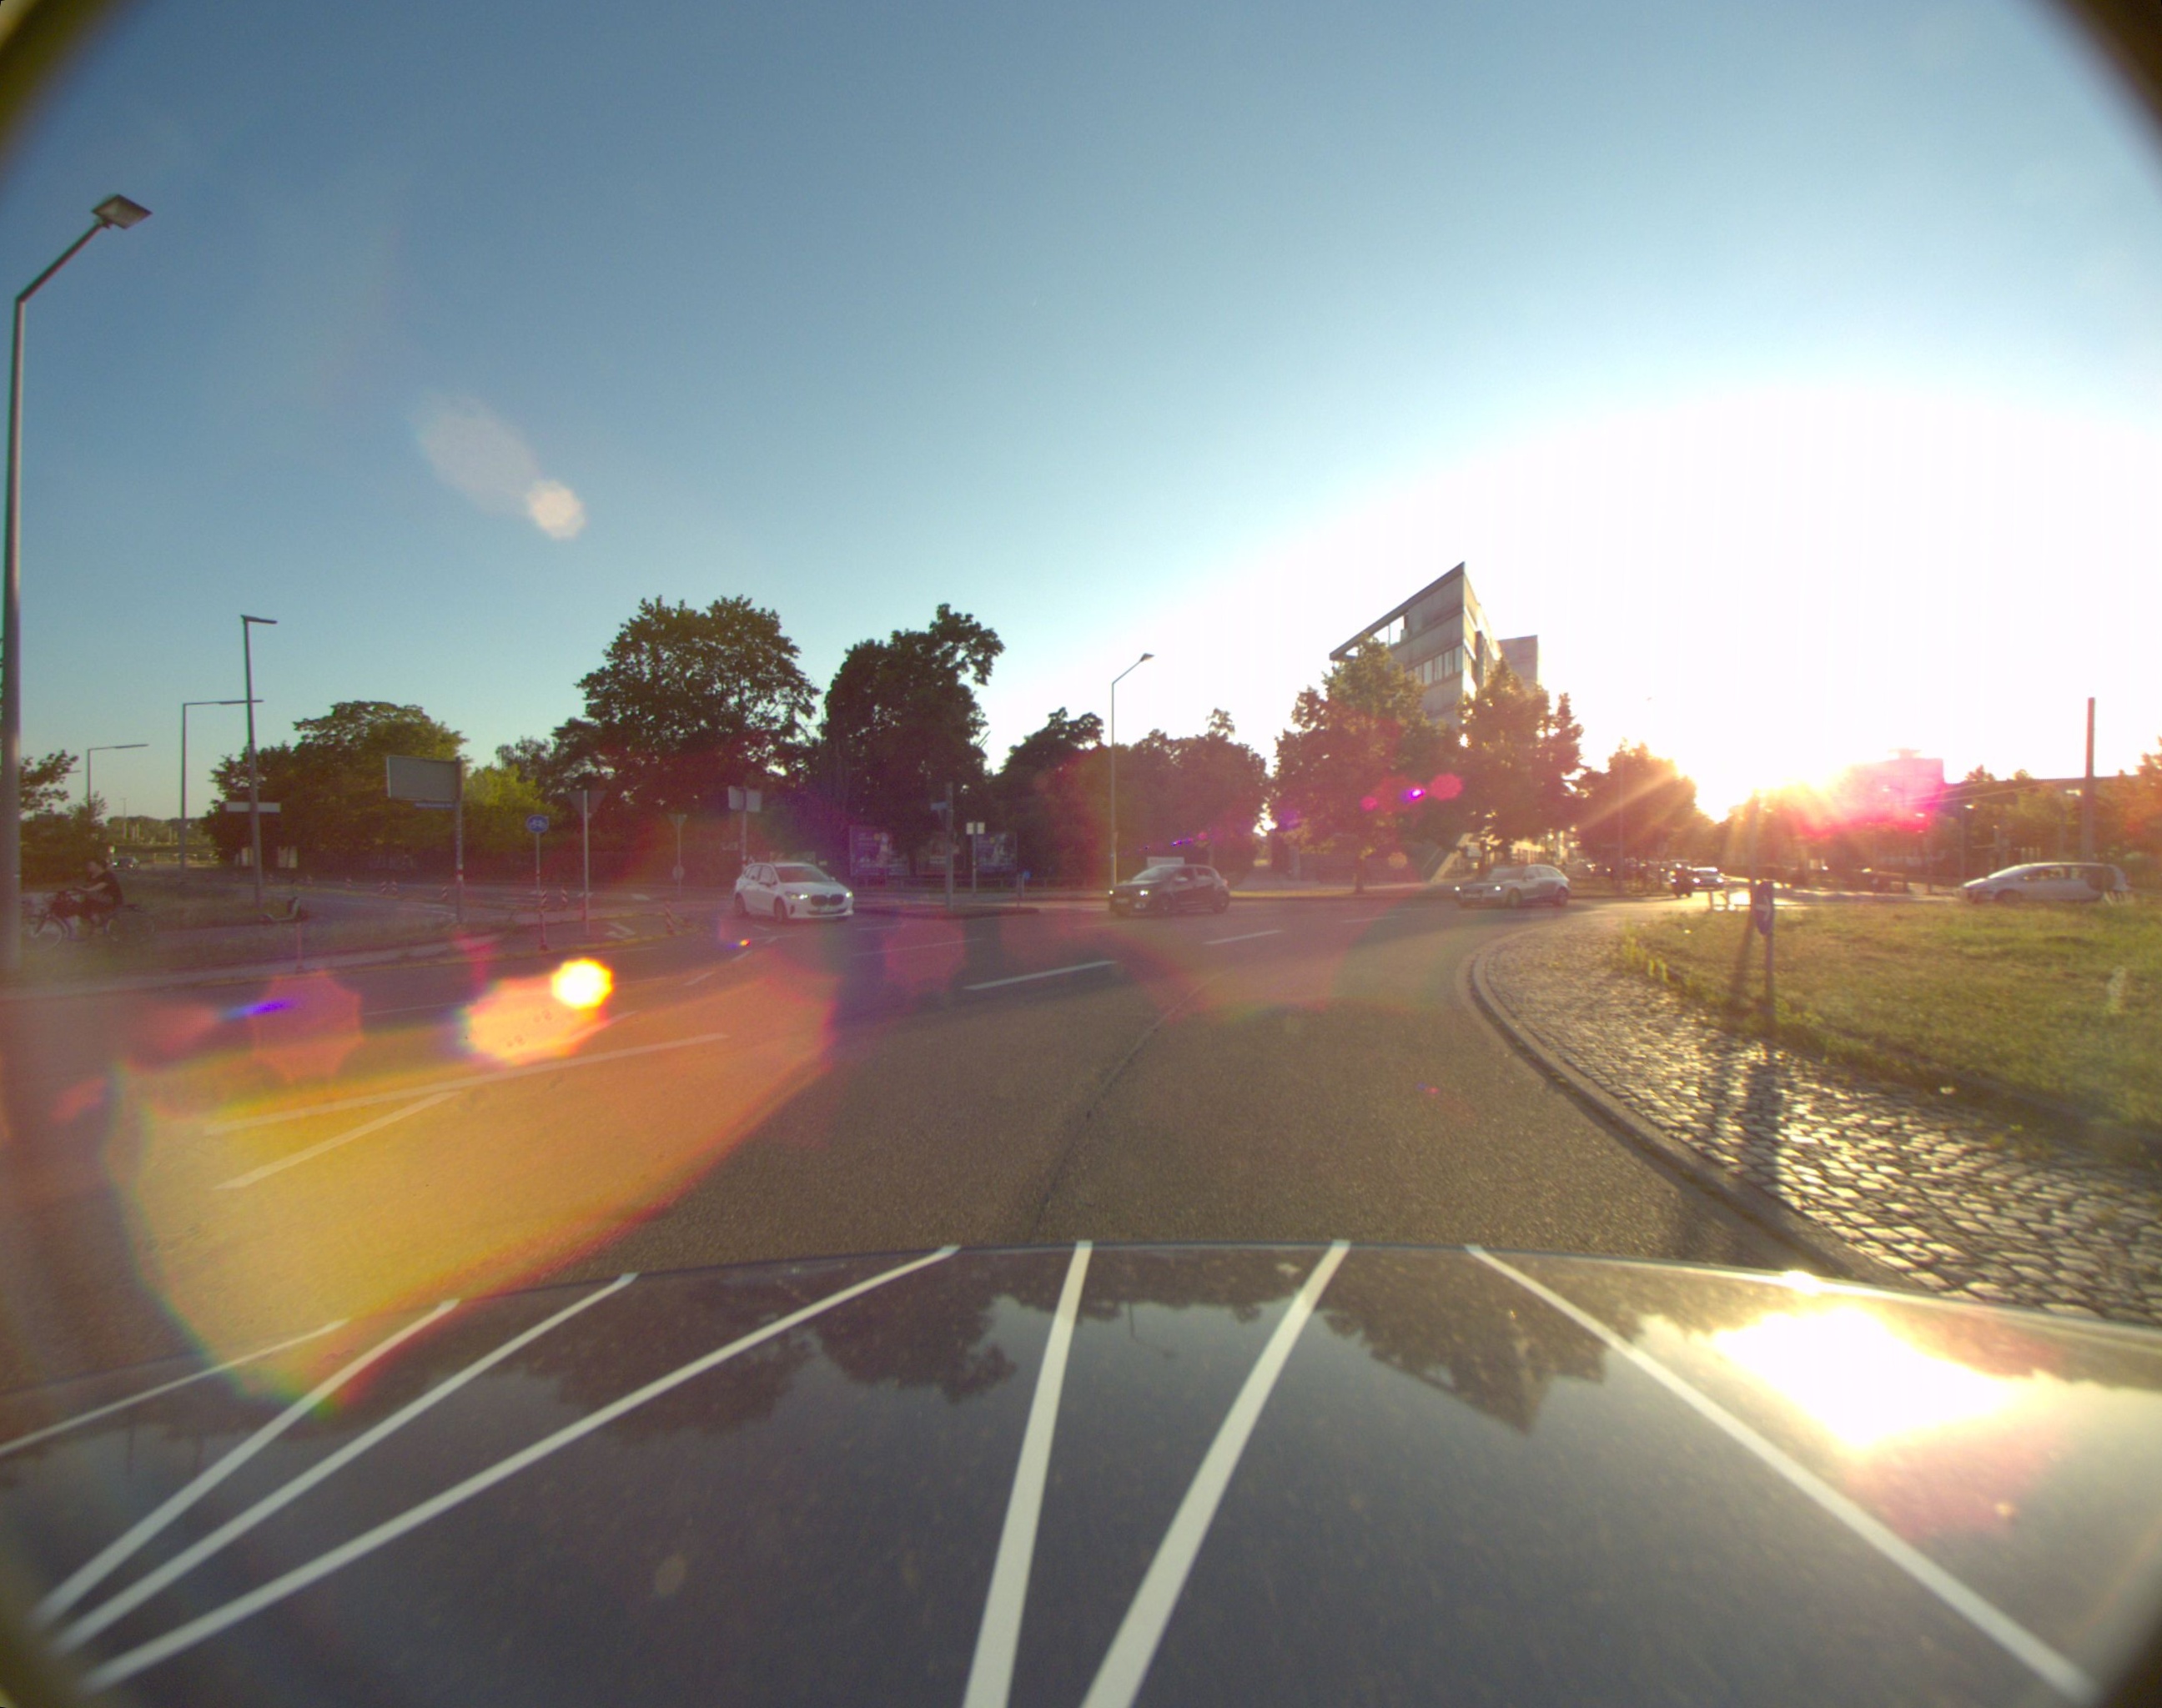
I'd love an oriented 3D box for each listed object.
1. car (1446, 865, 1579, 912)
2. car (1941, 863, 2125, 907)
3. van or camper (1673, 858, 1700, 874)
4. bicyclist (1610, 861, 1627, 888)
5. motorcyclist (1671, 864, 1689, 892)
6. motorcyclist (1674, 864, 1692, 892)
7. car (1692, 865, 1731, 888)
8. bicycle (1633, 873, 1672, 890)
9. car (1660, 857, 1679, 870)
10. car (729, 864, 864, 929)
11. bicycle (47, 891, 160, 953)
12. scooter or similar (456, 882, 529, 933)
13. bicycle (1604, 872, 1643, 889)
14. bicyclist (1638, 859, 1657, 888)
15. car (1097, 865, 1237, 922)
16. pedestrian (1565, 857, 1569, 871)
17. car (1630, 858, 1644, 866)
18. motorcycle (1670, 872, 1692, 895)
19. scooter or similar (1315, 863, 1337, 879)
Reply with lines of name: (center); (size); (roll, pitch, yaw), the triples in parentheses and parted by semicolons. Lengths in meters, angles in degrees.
car: (14.299, 1.075, 25.117); (4.456, 1.414, 1.799); (0, 0, -30)
car: (33.313, 1.048, 26.724); (3.701, 1.457, 1.609); (0, 0, 23)
van or camper: (75.381, 1.445, 94.653); (1.994, 1.946, 5.339); (0, 0, 33)
bicyclist: (32.163, 1.223, 45.464); (0.683, 1.638, 0.685); (0, 0, 24)
motorcyclist: (30.787, 1.235, 39.047); (0.716, 1.408, 0.634); (-1, 1, -43)
motorcyclist: (31.280, 1.245, 39.489); (0.595, 1.400, 0.634); (-1, 1, -42)
car: (46.099, 1.614, 55.492); (1.887, 1.472, 4.060); (0, 0, 44)
bicycle: (34.609, 1.666, 46.055); (1.858, 1.016, 0.439); (0, 0, 41)
car: (87.724, 1.390, 113.251); (1.715, 1.827, 4.008); (0, 0, 30)
car: (-7.708, 1.048, 20.408); (1.895, 1.549, 4.083); (0, 0, -45)
bicycle: (-18.921, 1.292, 14.746); (0.280, 1.082, 1.373); (0, 0, 8)
scooter or similar: (-14.415, 1.286, 18.654); (0.441, 1.156, 1.385); (0, 0, 20)
bicycle: (32.269, 1.579, 45.208); (1.859, 1.016, 0.308); (0, 0, 24)
bicyclist: (34.251, 1.159, 45.935); (0.847, 1.745, 0.806); (0, 0, 40)
car: (2.522, 1.059, 21.799); (4.009, 1.455, 1.798); (0, 0, -43)
pedestrian: (71.038, 1.436, 111.073); (0.537, 2.002, 0.528); (0, 0, 33)
car: (99.244, 1.399, 135.714); (1.798, 1.455, 4.009); (0, 0, 33)
motorcycle: (30.985, 1.516, 39.248); (2.164, 1.094, 0.556); (0, 1, -43)
scooter or similar: (18.897, 1.327, 58.582); (1.572, 1.213, 0.367); (0, 0, 44)
